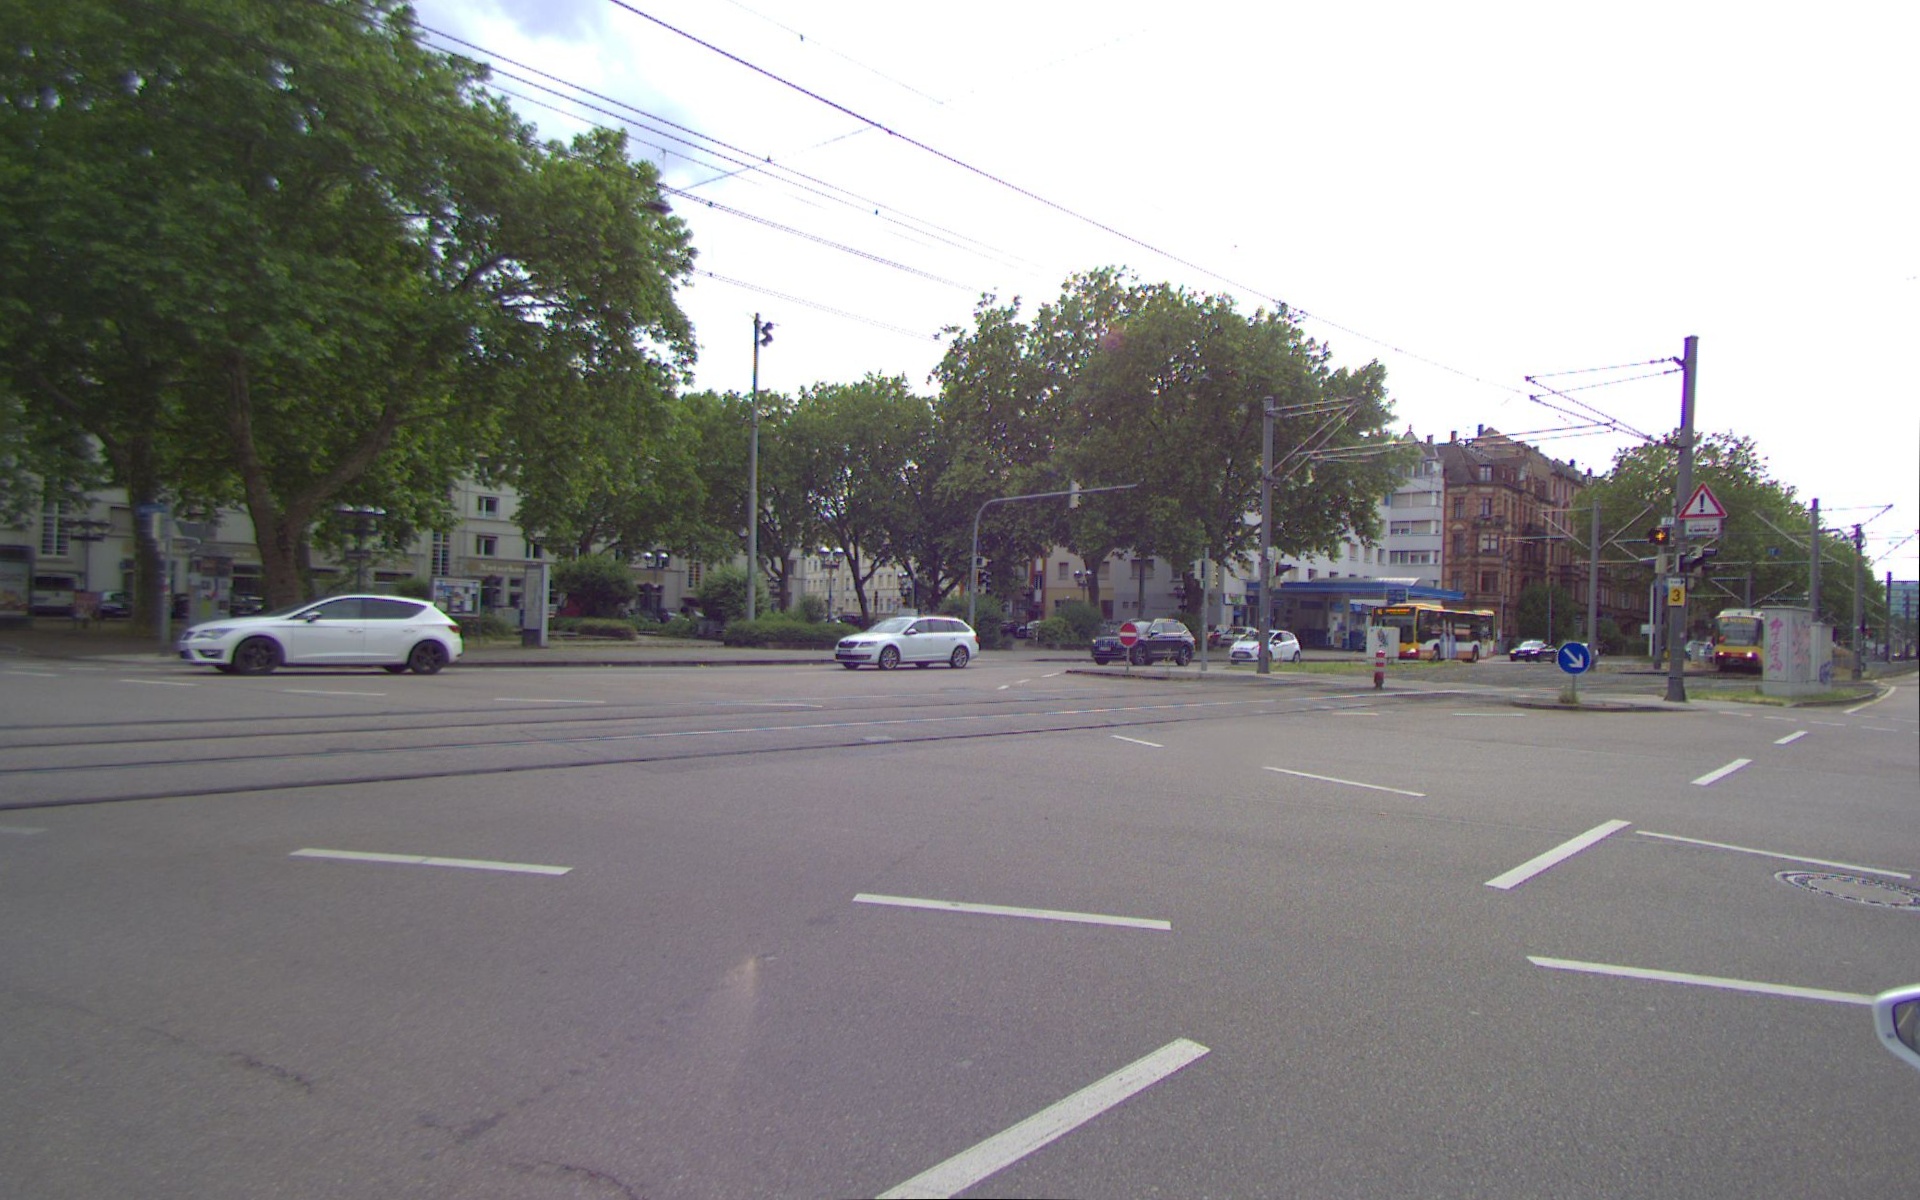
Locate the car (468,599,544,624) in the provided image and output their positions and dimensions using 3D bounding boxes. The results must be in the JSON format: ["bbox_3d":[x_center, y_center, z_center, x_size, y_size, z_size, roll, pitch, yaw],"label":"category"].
[{"bbox_3d":[-29.509,0.742,65.273,4.745,1.408,2.080,2,-1,29],"label":"car"}]

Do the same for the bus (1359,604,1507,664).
[{"bbox_3d":[26.589,1.962,56.001,12.298,2.894,3.249,3,0,-44],"label":"bus"}]

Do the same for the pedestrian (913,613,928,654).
[{"bbox_3d":[-1.462,1.257,37.573,0.356,1.498,0.372,2,-1,39],"label":"pedestrian"}]

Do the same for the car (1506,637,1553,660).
[{"bbox_3d":[38.351,3.260,67.641,3.865,1.376,1.686,3,0,-44],"label":"car"}]

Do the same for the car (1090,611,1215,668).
[{"bbox_3d":[6.941,1.421,35.794,5.115,1.807,1.686,3,0,-44],"label":"car"}]

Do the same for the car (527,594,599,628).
[{"bbox_3d":[-27.327,0.761,69.102,4.745,2.129,2.080,2,-1,29],"label":"car"}]

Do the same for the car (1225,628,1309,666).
[{"bbox_3d":[12.866,1.983,42.001,3.865,1.416,1.686,3,0,-44],"label":"car"}]

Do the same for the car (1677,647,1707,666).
[{"bbox_3d":[74.011,5.741,101.540,3.865,1.735,1.686,3,0,-44],"label":"car"}]

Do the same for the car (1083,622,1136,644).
[{"bbox_3d":[10.592,2.328,71.227,3.865,1.376,1.686,3,0,-44],"label":"car"}]

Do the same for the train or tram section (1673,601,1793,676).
[{"bbox_3d":[49.102,2.495,63.521,14.935,4.147,3.608,3,0,-43],"label":"train or tram section"}]

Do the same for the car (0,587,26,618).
[{"bbox_3d":[-46.624,0.033,47.670,4.745,1.408,1.997,2,-1,29],"label":"car"}]

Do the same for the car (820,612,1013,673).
[{"bbox_3d":[-1.098,1.203,28.245,5.666,1.545,1.822,3,-3,-45],"label":"car"}]

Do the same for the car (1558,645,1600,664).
[{"bbox_3d":[45.612,3.983,73.987,3.865,1.237,1.686,3,0,-44],"label":"car"}]

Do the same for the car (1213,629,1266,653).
[{"bbox_3d":[17.461,2.568,62.717,3.381,1.376,1.686,3,0,-44],"label":"car"}]

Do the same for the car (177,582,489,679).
[{"bbox_3d":[-11.009,0.543,17.843,4.385,1.467,1.823,3,0,-45],"label":"car"}]

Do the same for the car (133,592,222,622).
[{"bbox_3d":[-41.421,0.365,53.147,4.745,1.408,1.997,2,-1,29],"label":"car"}]

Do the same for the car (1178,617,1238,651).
[{"bbox_3d":[16.006,2.211,64.699,3.974,2.040,1.974,3,-1,-45],"label":"car"}]

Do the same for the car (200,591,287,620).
[{"bbox_3d":[-39.333,0.305,55.126,4.745,1.408,2.080,2,-1,29],"label":"car"}]
